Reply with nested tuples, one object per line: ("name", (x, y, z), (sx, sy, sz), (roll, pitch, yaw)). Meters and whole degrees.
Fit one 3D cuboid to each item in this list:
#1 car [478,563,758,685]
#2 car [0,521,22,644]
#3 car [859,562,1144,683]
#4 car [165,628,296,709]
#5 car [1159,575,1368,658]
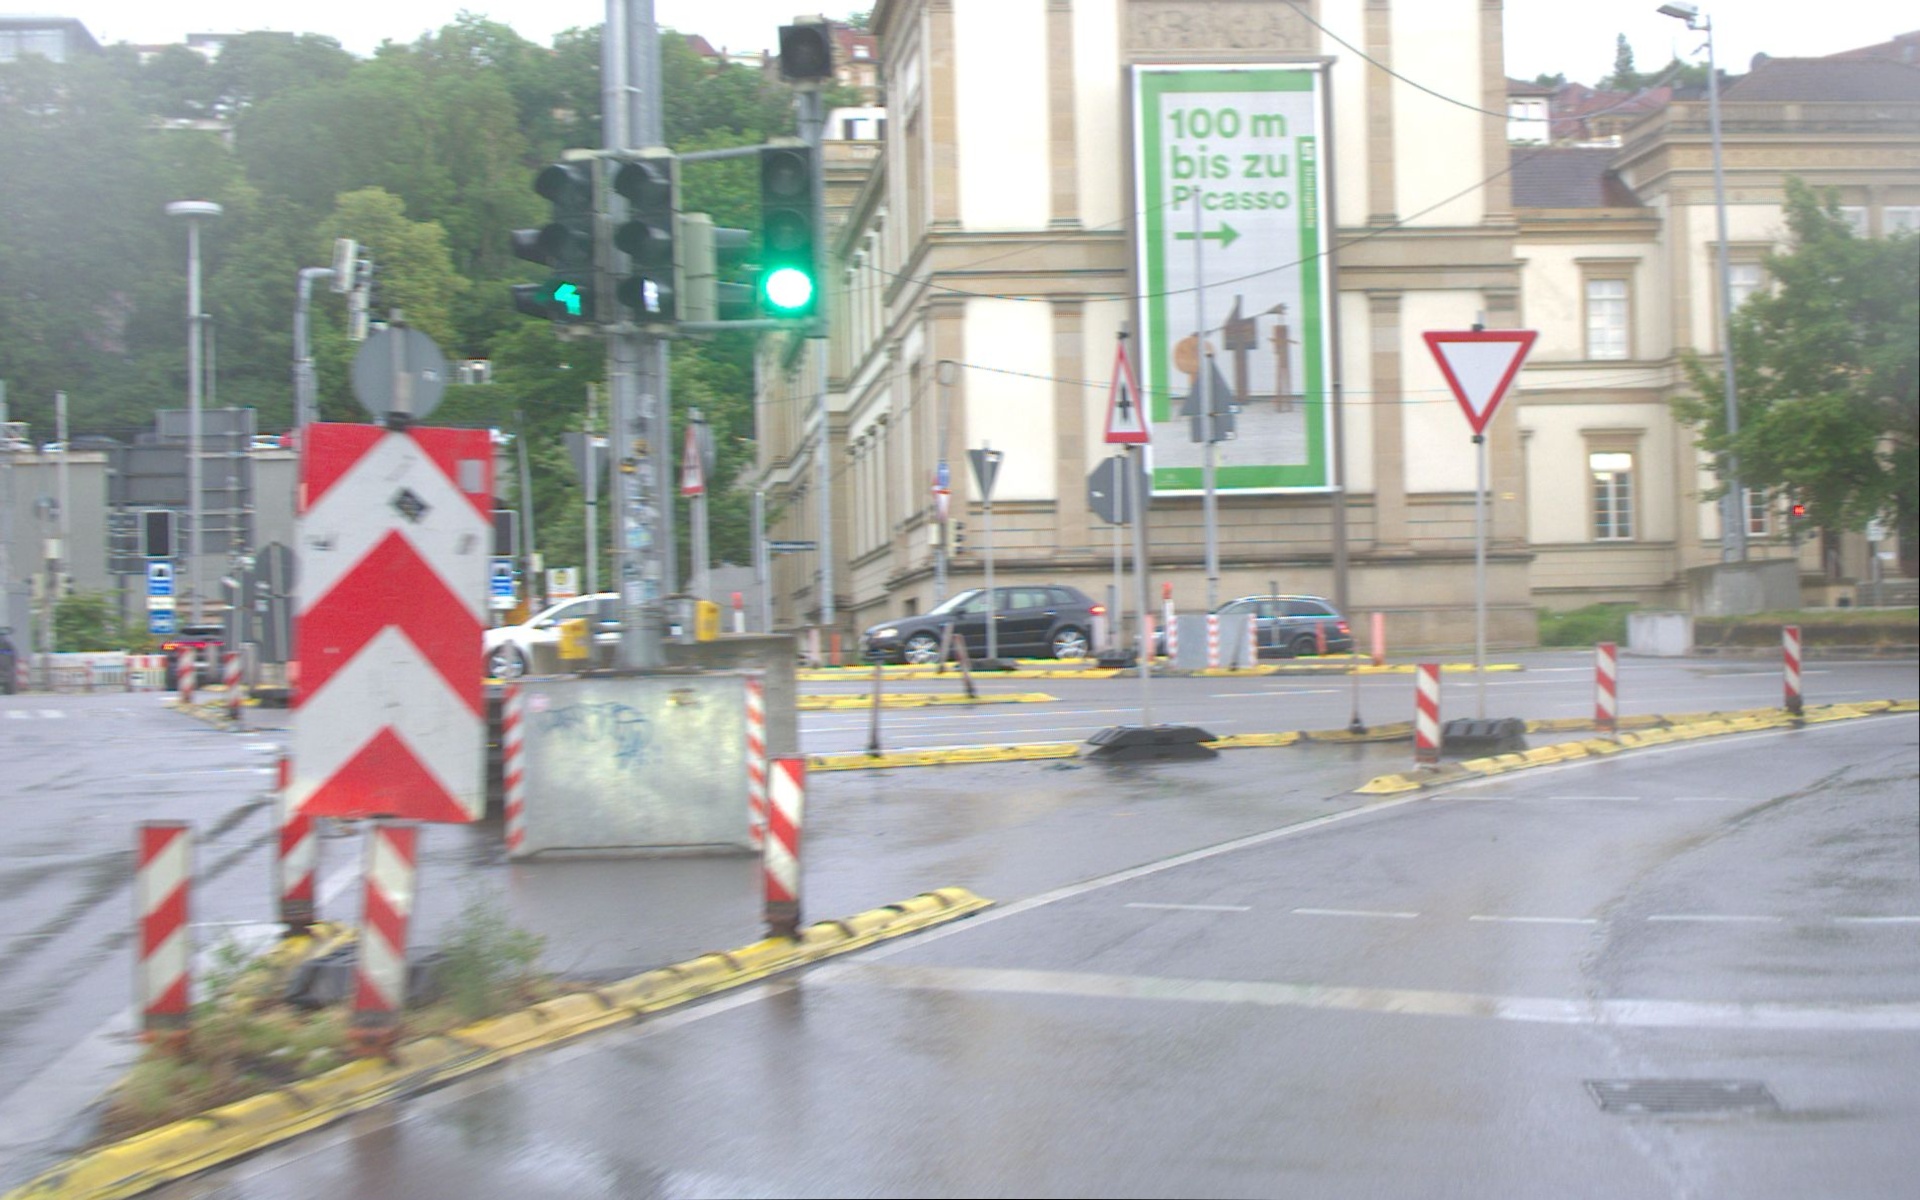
("car", (-5.834, 0.383, 58.374), (4.625, 2.007, 2.001), (0, 1, -8))
("car", (-16.827, -0.285, 57.076), (1.993, 2.007, 4.001), (-1, 1, -9))
("car", (0.692, 0.367, 59.423), (4.673, 2.007, 2.001), (0, 1, -8))
("car", (-16.173, 1.492, 76.376), (1.993, 1.628, 4.000), (1, 1, 1))
("car", (6.398, 0.341, 72.830), (4.180, 1.695, 1.823), (0, 1, -4))
